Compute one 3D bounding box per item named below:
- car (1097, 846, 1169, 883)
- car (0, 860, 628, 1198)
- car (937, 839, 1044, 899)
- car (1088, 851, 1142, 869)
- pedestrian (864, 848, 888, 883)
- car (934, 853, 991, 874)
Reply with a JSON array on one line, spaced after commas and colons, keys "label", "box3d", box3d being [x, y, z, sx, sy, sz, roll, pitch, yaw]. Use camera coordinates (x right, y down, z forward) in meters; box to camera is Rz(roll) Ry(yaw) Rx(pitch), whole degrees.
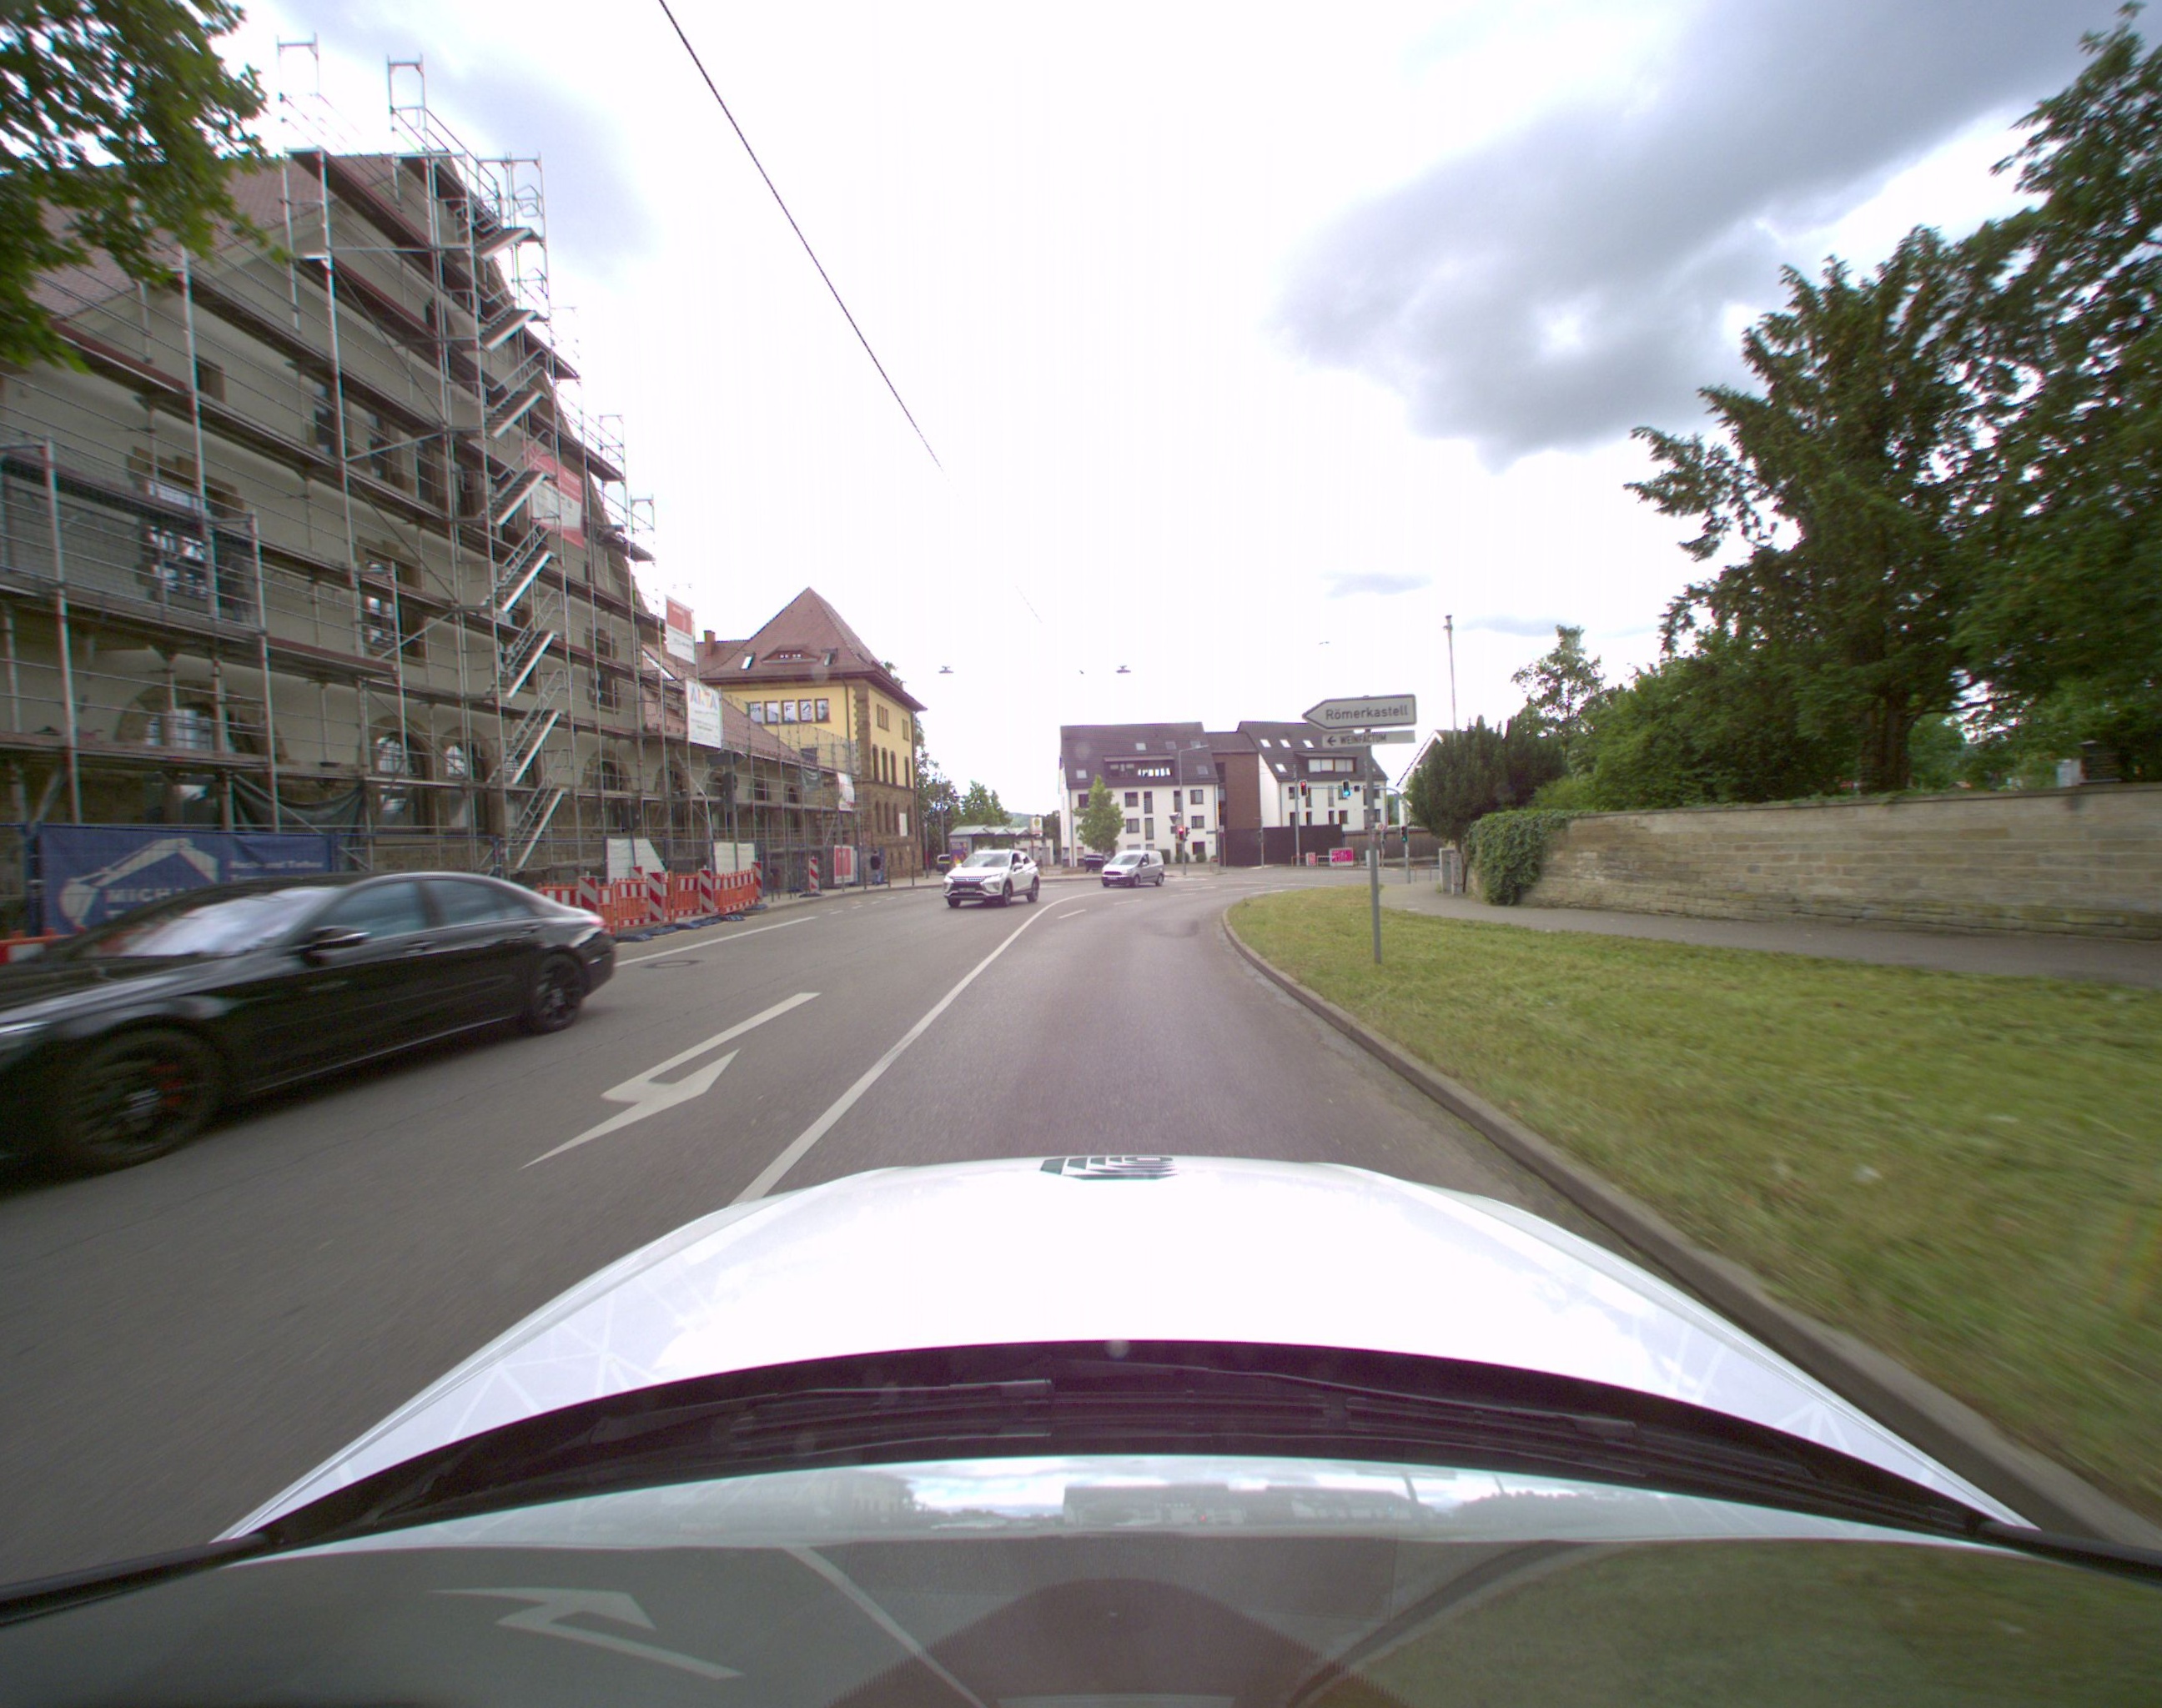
[{"label": "car", "box3d": [2.504, 0.482, 38.356, 1.676, 1.614, 4.109, -1, -1, 31]}, {"label": "car", "box3d": [-5.652, 0.835, 5.869, 1.794, 1.472, 4.853, -2, 0, 3]}, {"label": "car", "box3d": [-2.622, 0.496, 24.786, 1.779, 1.611, 4.523, -2, -3, 13]}, {"label": "car", "box3d": [2.966, 0.519, 71.002, 4.218, 1.513, 2.013, -1, -1, 33]}, {"label": "pedestrian", "box3d": [-10.149, 0.572, 40.361, 0.919, 1.720, 0.799, 0, -1, 4]}, {"label": "car", "box3d": [-11.378, 0.934, 78.100, 5.048, 2.014, 2.003, 0, -1, 6]}]
